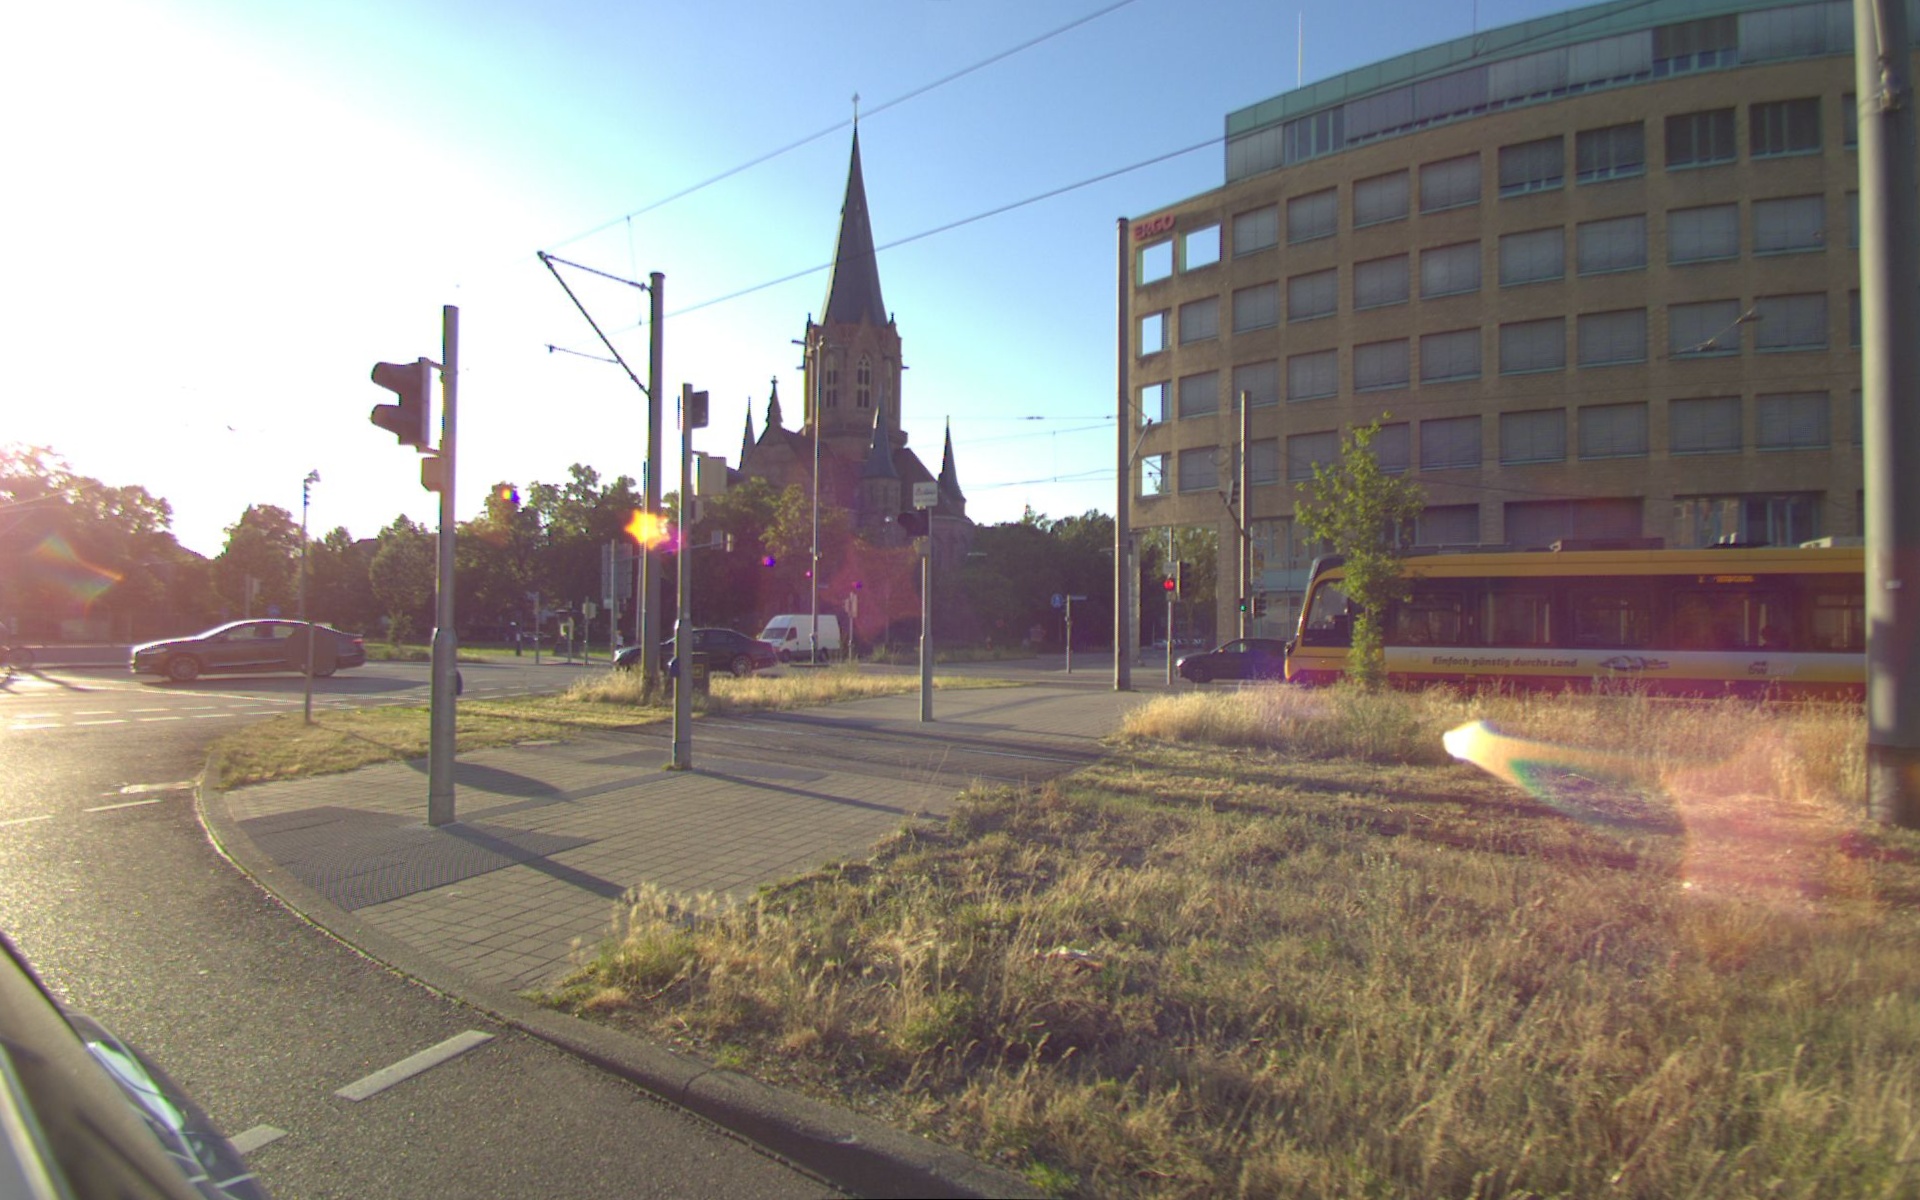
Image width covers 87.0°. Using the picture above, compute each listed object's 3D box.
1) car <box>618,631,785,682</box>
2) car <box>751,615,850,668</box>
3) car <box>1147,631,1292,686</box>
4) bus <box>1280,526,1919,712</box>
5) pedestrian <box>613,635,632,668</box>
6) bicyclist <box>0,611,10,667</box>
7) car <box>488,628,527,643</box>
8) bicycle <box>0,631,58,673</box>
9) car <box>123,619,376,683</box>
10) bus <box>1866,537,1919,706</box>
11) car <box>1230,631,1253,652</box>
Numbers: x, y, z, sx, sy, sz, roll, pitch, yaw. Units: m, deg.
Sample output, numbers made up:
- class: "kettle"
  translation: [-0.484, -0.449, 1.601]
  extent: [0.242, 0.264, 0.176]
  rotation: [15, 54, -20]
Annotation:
- class: "car"
  translation: [-8.083, 1.750, 31.829]
  extent: [4.942, 1.519, 1.729]
  rotation: [1, -2, -14]
- class: "car"
  translation: [-9.290, 2.440, 59.912]
  extent: [2.295, 2.900, 7.141]
  rotation: [-1, -3, 24]
- class: "car"
  translation: [7.891, 1.738, 30.740]
  extent: [3.978, 1.554, 1.983]
  rotation: [-1, -2, 26]
- class: "bus"
  translation: [13.699, 0.492, 22.840]
  extent: [12.053, 3.482, 3.732]
  rotation: [-1, -2, 23]
- class: "pedestrian"
  translation: [-17.606, 2.678, 52.767]
  extent: [0.655, 1.694, 0.656]
  rotation: [-1, -3, 26]
- class: "bicyclist"
  translation: [-27.451, 1.103, 28.557]
  extent: [0.819, 1.580, 0.726]
  rotation: [-2, -2, 29]
- class: "car"
  translation: [-56.871, 4.474, 127.141]
  extent: [4.071, 1.836, 2.001]
  rotation: [-1, -1, -3]
- class: "bicycle"
  translation: [-27.209, 1.494, 29.016]
  extent: [0.488, 1.191, 1.953]
  rotation: [-1, -3, 28]
- class: "car"
  translation: [-17.652, 1.286, 25.313]
  extent: [4.964, 1.447, 1.882]
  rotation: [3, -3, -41]
- class: "bus"
  translation: [24.114, 0.336, 18.333]
  extent: [10.667, 3.356, 3.732]
  rotation: [-1, -2, 23]
- class: "car"
  translation: [34.513, 5.039, 124.017]
  extent: [2.092, 2.441, 4.330]
  rotation: [-1, -2, 24]
